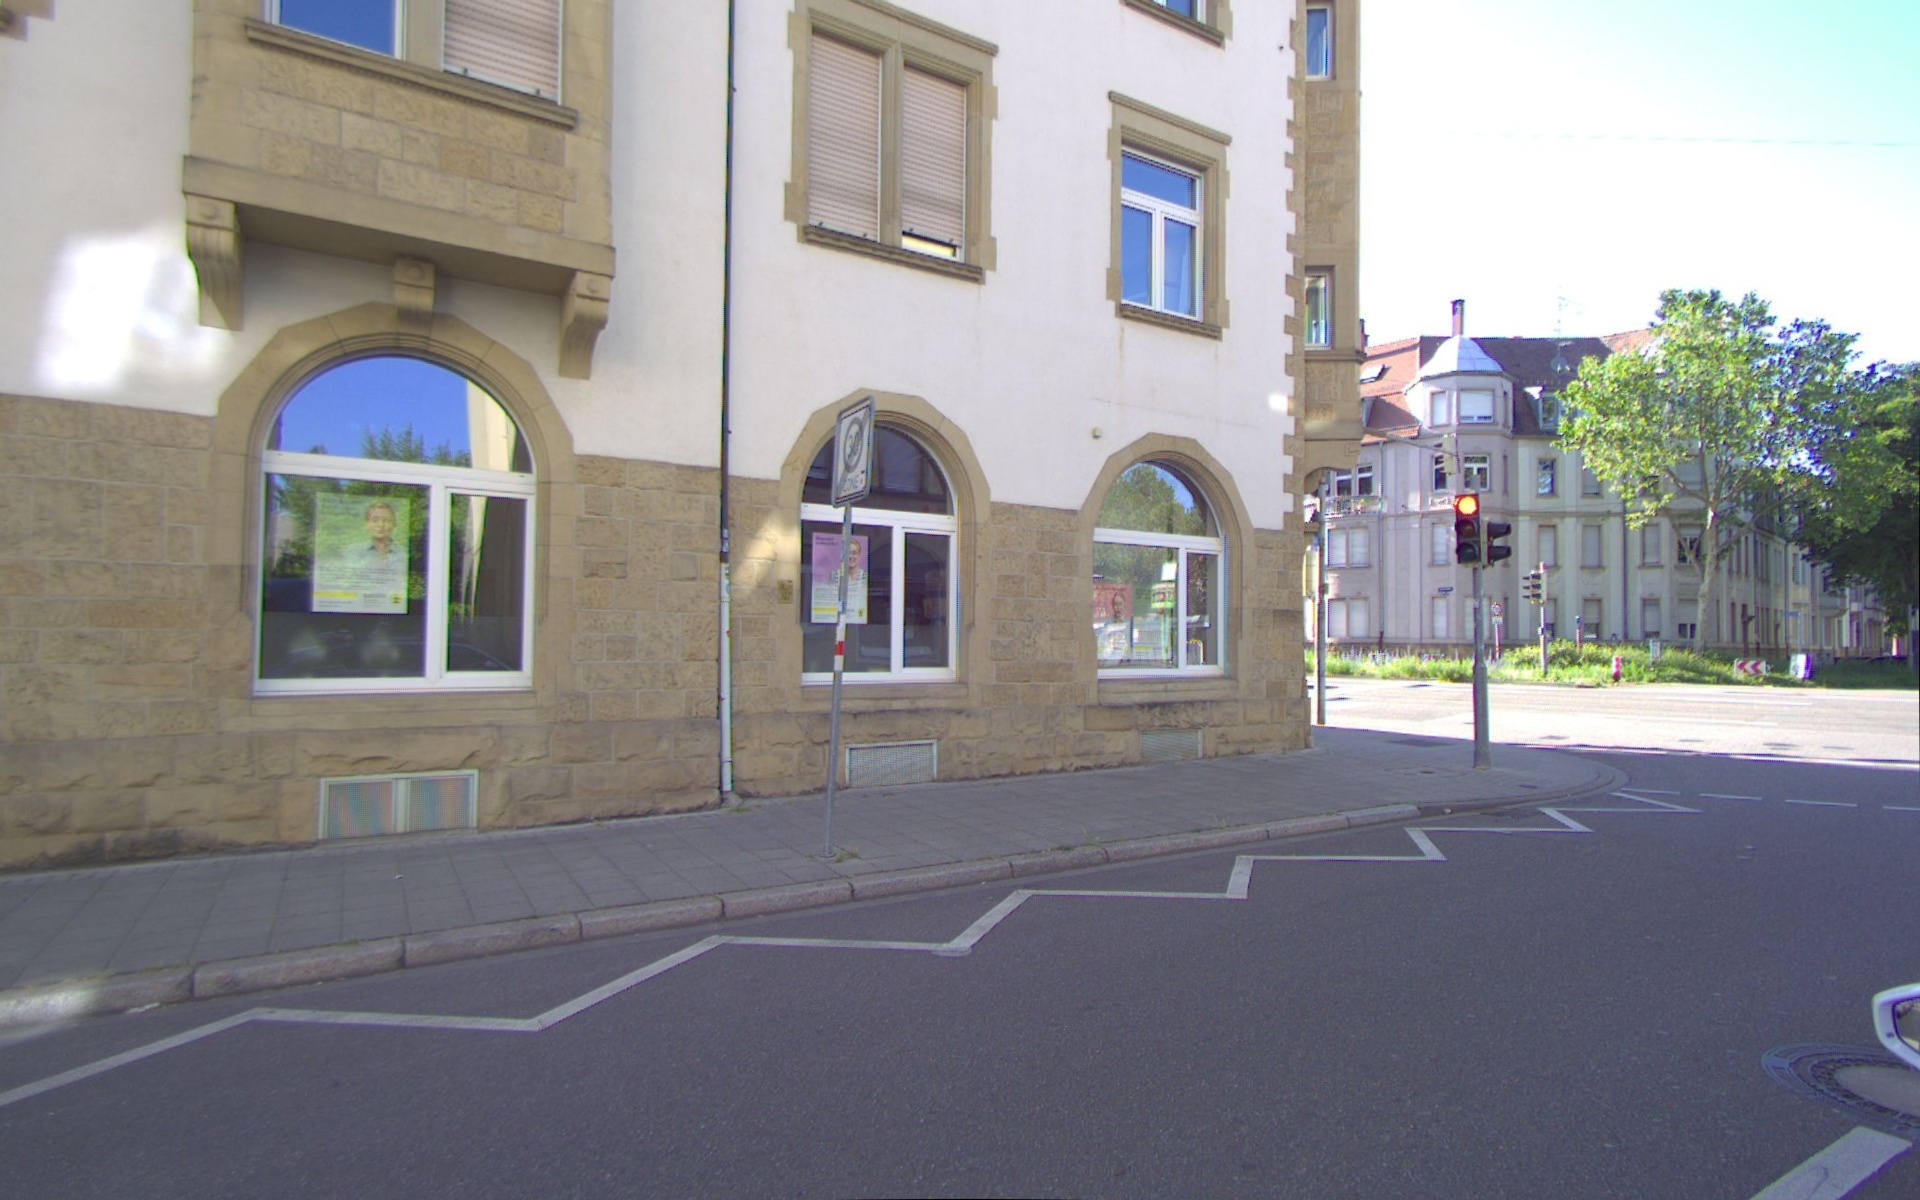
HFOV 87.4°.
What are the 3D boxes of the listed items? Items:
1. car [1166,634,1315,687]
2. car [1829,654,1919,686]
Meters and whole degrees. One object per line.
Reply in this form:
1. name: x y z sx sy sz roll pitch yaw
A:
1. car: 8.413 1.795 30.341 3.944 1.336 1.812 2 -1 43
2. car: 45.836 3.444 49.952 3.943 1.505 1.673 -2 -3 42
